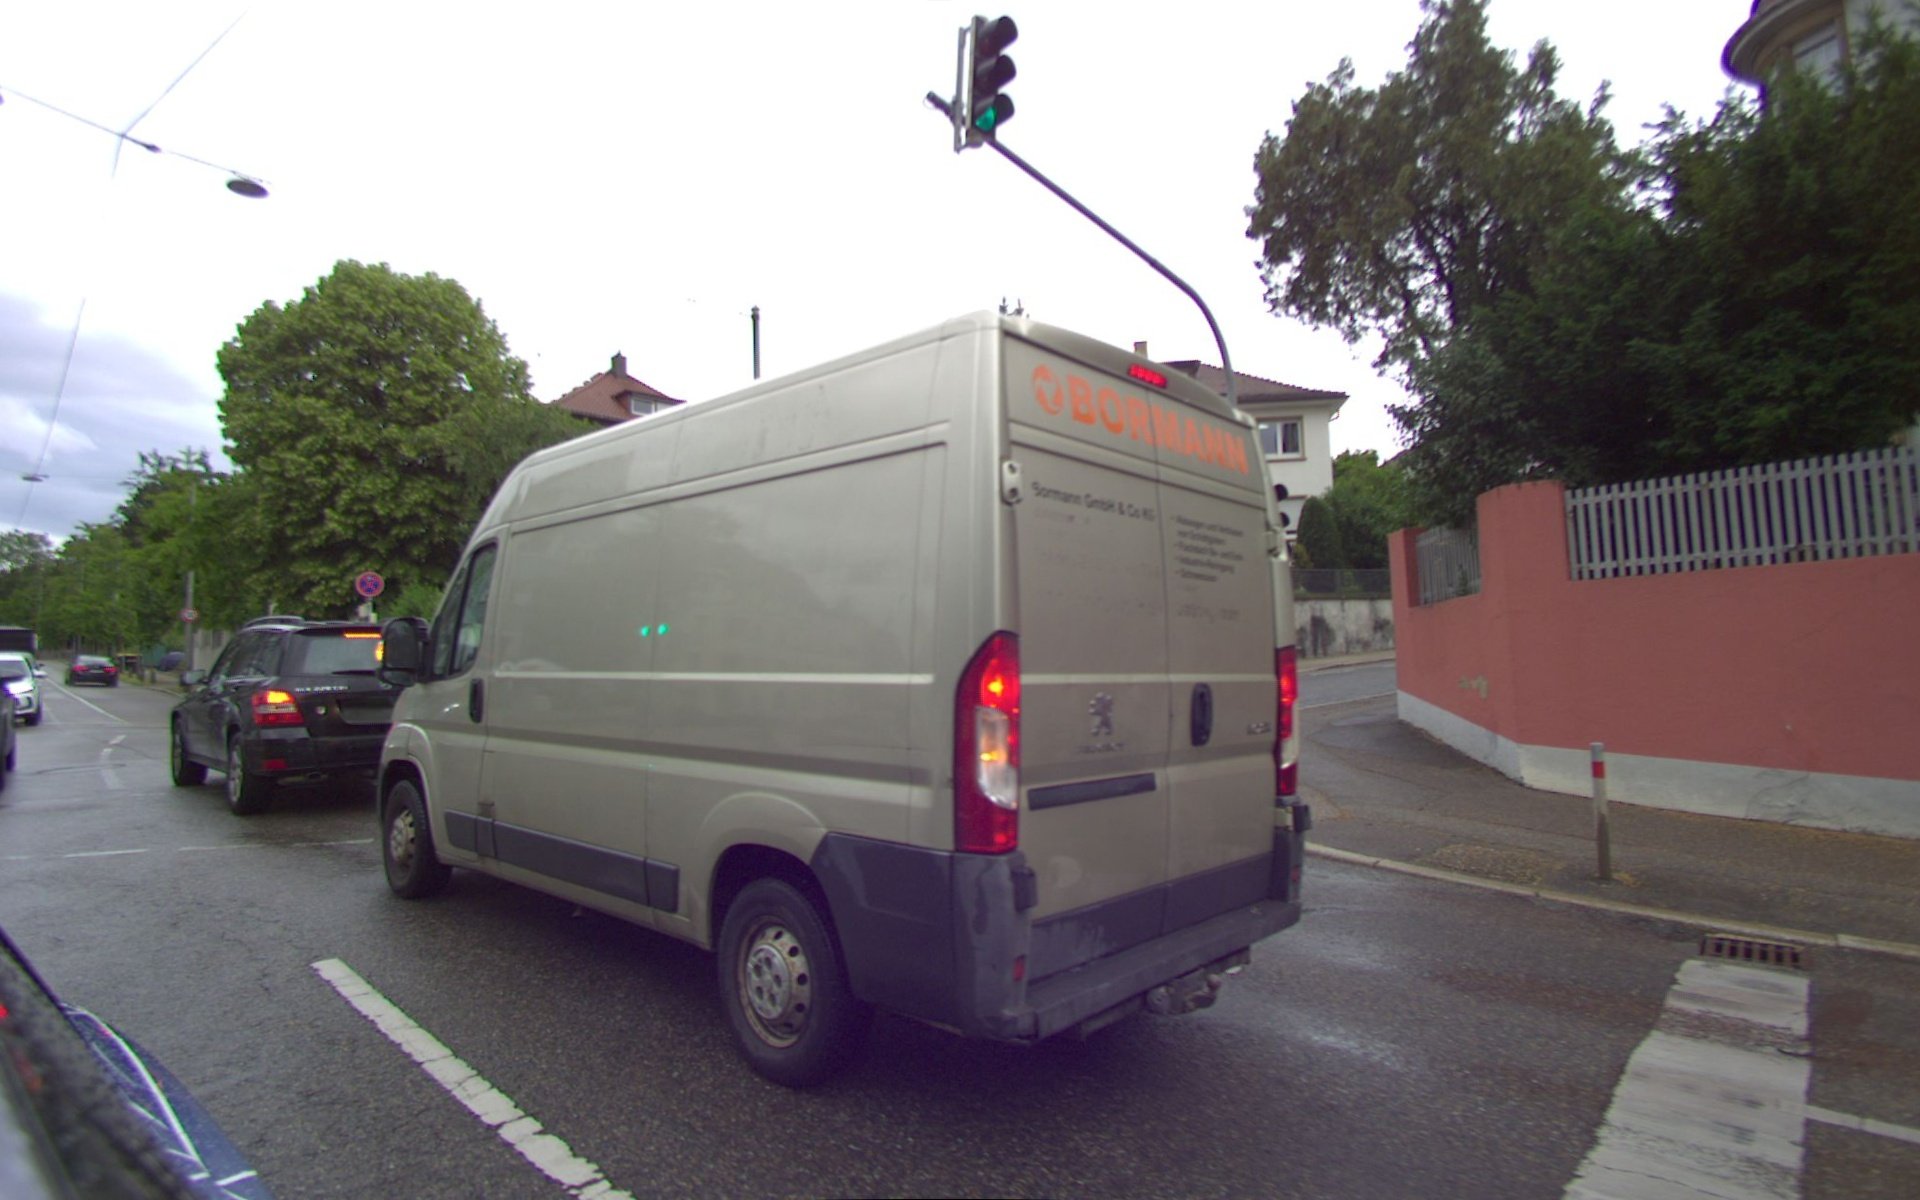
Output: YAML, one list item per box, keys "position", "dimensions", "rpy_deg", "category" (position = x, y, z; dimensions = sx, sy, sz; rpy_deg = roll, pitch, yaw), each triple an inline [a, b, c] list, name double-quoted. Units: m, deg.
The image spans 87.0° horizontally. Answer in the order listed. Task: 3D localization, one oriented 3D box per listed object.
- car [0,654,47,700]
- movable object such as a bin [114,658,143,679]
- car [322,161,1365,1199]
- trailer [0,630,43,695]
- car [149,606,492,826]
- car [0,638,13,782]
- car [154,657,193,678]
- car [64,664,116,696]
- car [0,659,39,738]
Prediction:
- position: [-38.063, 3.074, 40.767]
  dimensions: [1.712, 1.631, 3.478]
  rpy_deg: [1, -2, -45]
  category: "car"
- position: [-56.446, 4.655, 68.710]
  dimensions: [1.121, 1.361, 1.211]
  rpy_deg: [-2, -4, 38]
  category: "movable object such as a bin"
- position: [-1.132, 0.300, 5.111]
  dimensions: [5.539, 2.565, 2.094]
  rpy_deg: [-2, -4, 43]
  category: "car"
- position: [-40.331, 2.612, 43.095]
  dimensions: [1.746, 2.645, 3.035]
  rpy_deg: [1, -2, -44]
  category: "trailer"
- position: [-6.358, 0.991, 9.848]
  dimensions: [4.346, 1.665, 1.801]
  rpy_deg: [-3, -4, 43]
  category: "car"
- position: [-11.236, 1.216, 10.590]
  dimensions: [1.759, 1.654, 4.205]
  rpy_deg: [3, -4, -42]
  category: "car"
- position: [-59.905, 5.140, 77.087]
  dimensions: [3.866, 1.503, 1.830]
  rpy_deg: [-3, -3, 44]
  category: "car"
- position: [-43.326, 3.961, 50.443]
  dimensions: [1.829, 1.497, 5.375]
  rpy_deg: [3, -5, -40]
  category: "car"
- position: [-22.391, 2.195, 23.165]
  dimensions: [1.760, 1.654, 4.203]
  rpy_deg: [4, -4, -44]
  category: "car"
